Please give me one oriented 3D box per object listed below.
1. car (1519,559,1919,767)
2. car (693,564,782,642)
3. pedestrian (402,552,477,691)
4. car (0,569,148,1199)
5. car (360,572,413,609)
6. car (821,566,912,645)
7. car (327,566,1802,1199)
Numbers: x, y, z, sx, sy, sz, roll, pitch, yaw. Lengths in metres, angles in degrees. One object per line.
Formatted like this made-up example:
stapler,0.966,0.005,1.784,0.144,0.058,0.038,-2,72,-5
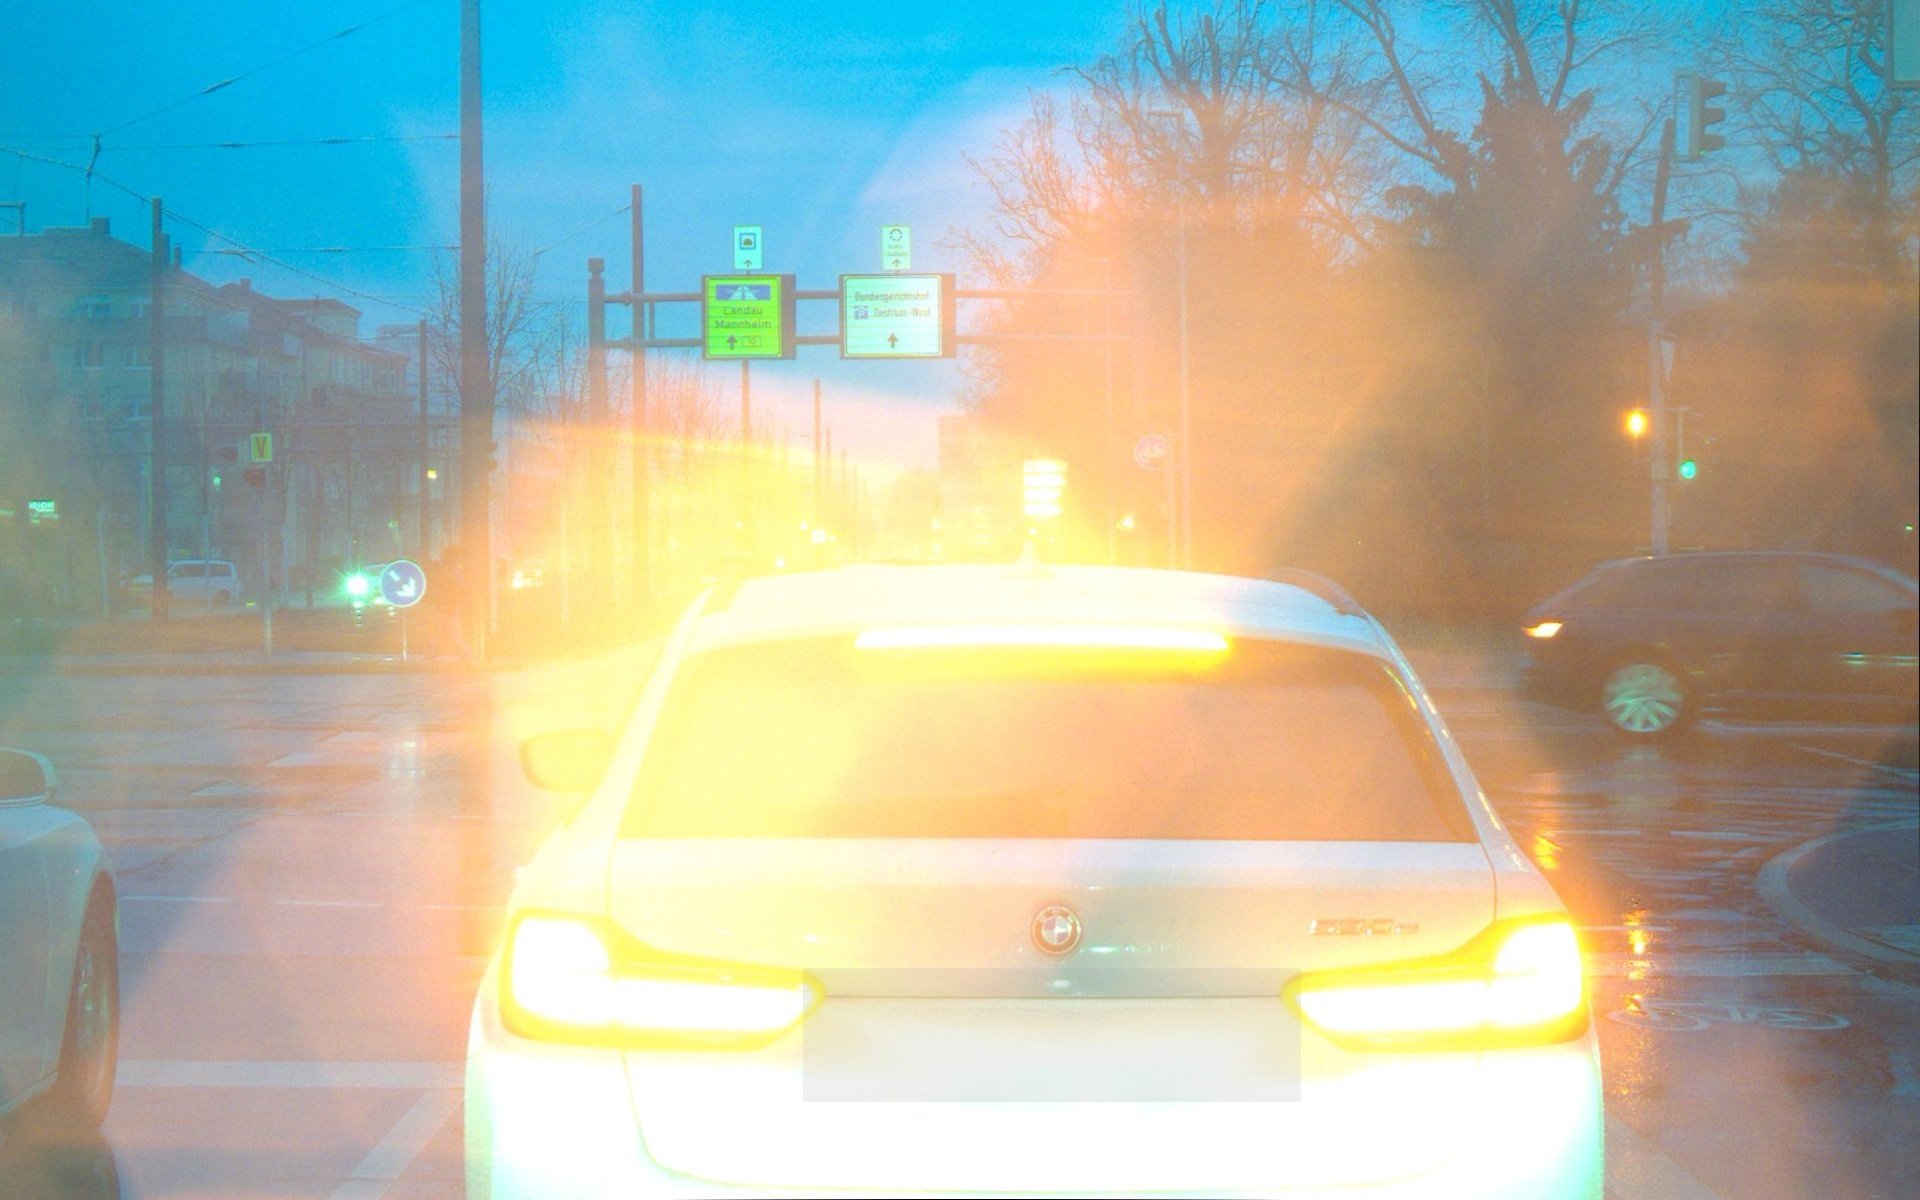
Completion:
car,6.736,0.489,27.063,4.317,1.525,1.761,1,0,21
car,-4.813,0.060,74.813,1.843,1.603,3.945,1,0,-3
pedestrian,-7.052,0.283,46.567,0.902,1.850,0.812,1,0,-13
car,-3.093,0.679,7.052,1.993,1.451,4.369,0,1,-2
car,-24.363,-0.401,146.112,1.675,1.502,3.696,1,0,-1
car,-1.993,0.112,73.078,1.843,1.603,3.945,1,0,-2
car,0.052,0.681,6.834,1.993,1.451,4.369,0,1,-2
